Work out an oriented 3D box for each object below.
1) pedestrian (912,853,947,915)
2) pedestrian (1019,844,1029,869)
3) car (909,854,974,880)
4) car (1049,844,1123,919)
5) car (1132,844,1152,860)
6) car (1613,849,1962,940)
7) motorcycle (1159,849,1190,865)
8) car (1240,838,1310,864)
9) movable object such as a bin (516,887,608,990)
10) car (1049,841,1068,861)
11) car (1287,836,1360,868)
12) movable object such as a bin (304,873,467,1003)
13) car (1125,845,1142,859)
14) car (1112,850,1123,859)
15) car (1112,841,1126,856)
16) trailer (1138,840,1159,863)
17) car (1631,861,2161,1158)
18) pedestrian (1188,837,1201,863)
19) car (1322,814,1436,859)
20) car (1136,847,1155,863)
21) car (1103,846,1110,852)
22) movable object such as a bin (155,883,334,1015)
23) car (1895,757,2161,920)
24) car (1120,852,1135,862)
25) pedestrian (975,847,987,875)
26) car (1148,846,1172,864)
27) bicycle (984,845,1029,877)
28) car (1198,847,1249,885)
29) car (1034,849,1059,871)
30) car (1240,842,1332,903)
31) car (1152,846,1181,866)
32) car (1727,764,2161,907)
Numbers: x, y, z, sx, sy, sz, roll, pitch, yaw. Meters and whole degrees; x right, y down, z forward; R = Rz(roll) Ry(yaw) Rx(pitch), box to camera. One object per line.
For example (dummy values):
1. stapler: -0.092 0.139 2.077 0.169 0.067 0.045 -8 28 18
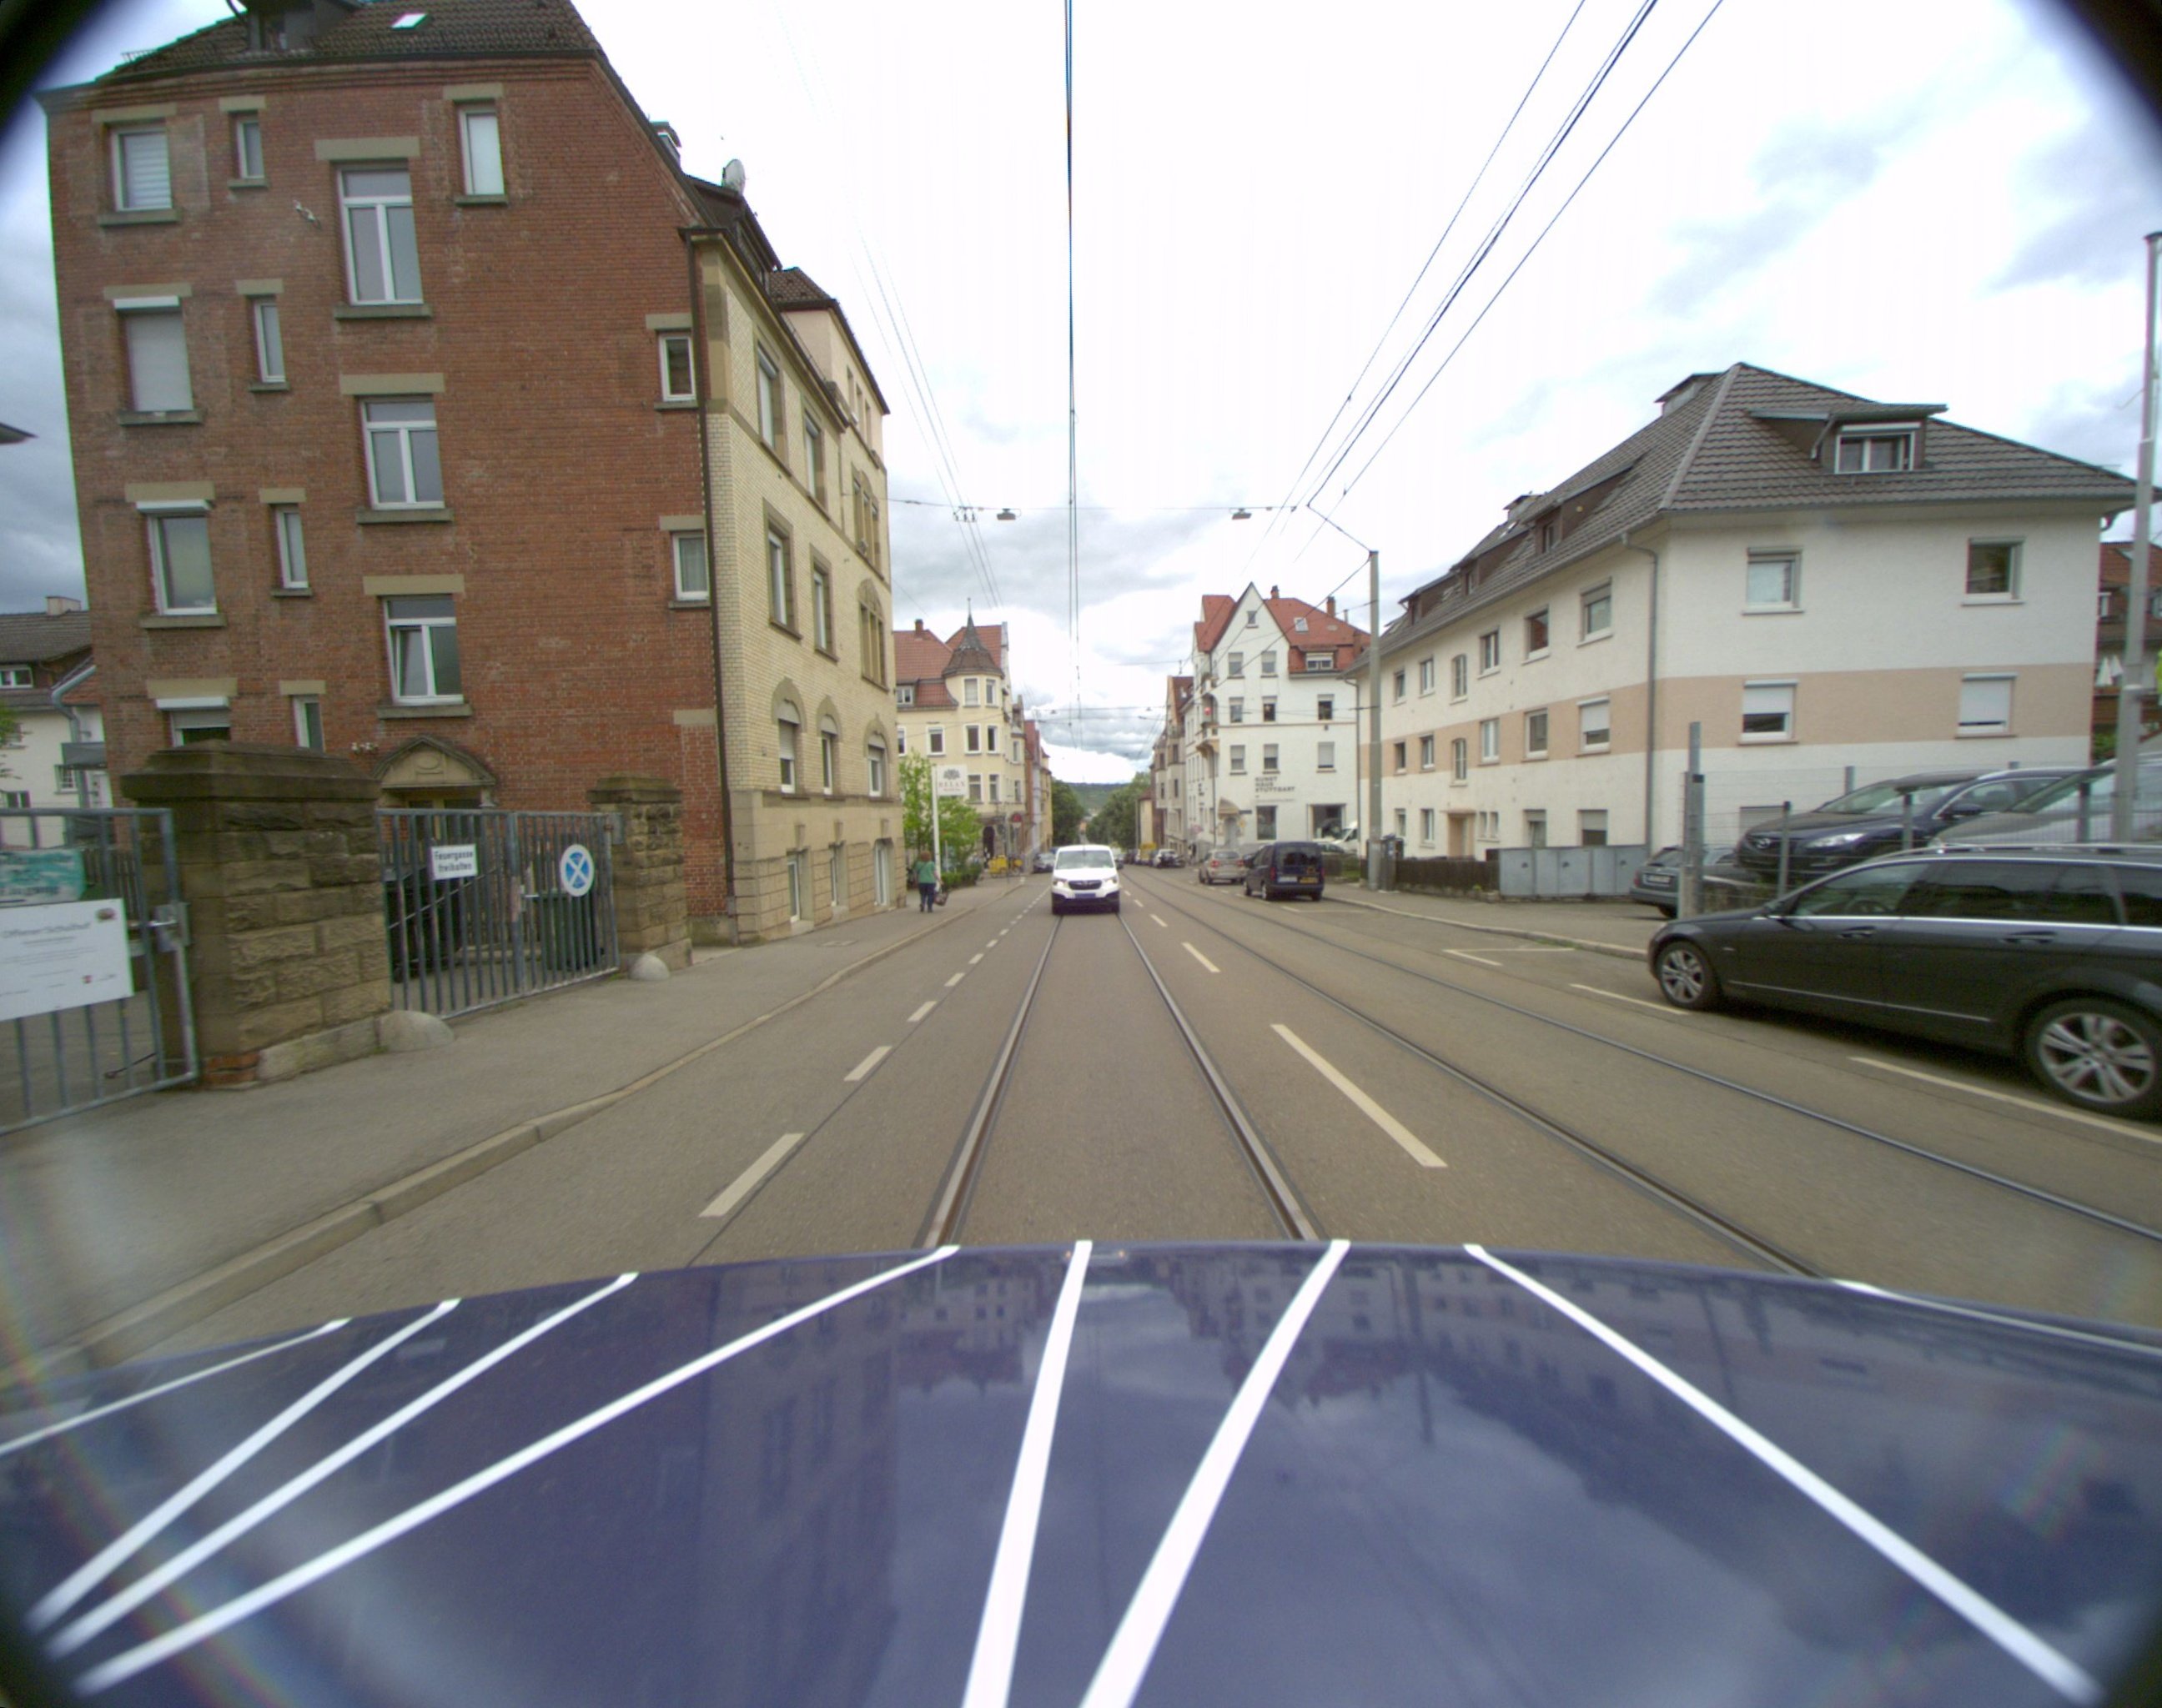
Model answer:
1. pedestrian: -4.144 0.807 20.846 0.873 1.676 0.663 0 1 -6
2. pedestrian: -4.094 0.203 54.983 0.600 1.793 0.631 -2 1 0
3. car: -8.907 0.830 48.681 3.857 1.455 1.580 -3 1 -2
4. car: 0.184 0.668 21.147 1.759 1.824 4.448 -2 0 2
5. car: 6.750 -0.232 84.091 1.878 1.654 4.892 0 0 1
6. car: 12.218 0.660 13.368 4.349 1.338 1.861 2 1 0
7. motorcycle: 6.711 0.233 54.512 2.111 1.127 0.767 0 0 14
8. car: 12.310 -0.203 48.309 3.997 1.455 1.754 -3 1 2
9. movable object such as a bin: -6.616 1.062 9.719 0.696 1.211 0.605 -2 1 0
10. car: -2.710 -0.389 92.271 1.998 2.363 5.055 -2 1 0
11. car: 13.705 -0.114 43.065 3.523 1.485 1.775 -3 6 1
12. movable object such as a bin: -8.830 1.037 9.704 1.078 1.505 0.997 -2 1 0
13. car: 6.357 -0.221 92.466 1.832 1.708 4.913 0 0 1
14. car: 6.405 0.094 135.084 1.723 1.394 4.313 1 0 0
15. car: 7.213 -1.027 145.353 2.164 2.591 6.218 1 0 -1
16. trailer: 6.588 -0.233 74.231 1.753 2.143 4.071 0 0 1
17. car: 6.228 0.797 5.145 1.701 1.425 4.480 0 0 -1
18. pedestrian: 8.491 -0.306 56.759 0.590 1.895 0.811 -7 1 0
19. car: 18.751 -1.090 48.029 6.207 2.517 2.191 -3 1 2
20. car: 6.655 0.121 78.409 1.701 1.584 4.268 0 0 1
21. car: 7.321 -1.469 220.202 1.856 1.532 3.948 -2 0 0
22. movable object such as a bin: -10.515 1.157 9.607 1.078 1.505 0.997 -2 1 0
23. car: 11.574 -0.217 8.024 4.070 1.515 1.739 -2 1 0
24. car: 7.111 0.442 117.269 1.832 1.420 4.626 2 0 -2
25. pedestrian: -6.523 0.459 49.495 0.483 1.757 0.493 -2 1 34
26. car: 6.496 0.076 62.725 1.701 1.460 3.023 0 1 1
27. bicycle: -4.784 0.433 49.105 1.179 1.855 2.734 -2 1 42
28. car: 6.431 0.498 34.610 1.701 1.547 3.850 -2 0 2
29. car: -2.662 0.467 58.921 1.739 1.528 4.573 -4 0 -2
30. car: 6.232 0.509 23.597 1.748 1.726 4.519 0 1 2
31. car: 6.456 0.132 57.425 1.784 1.349 4.291 -2 0 2
32. car: 11.623 -0.240 10.397 4.070 1.543 1.688 -4 1 0
